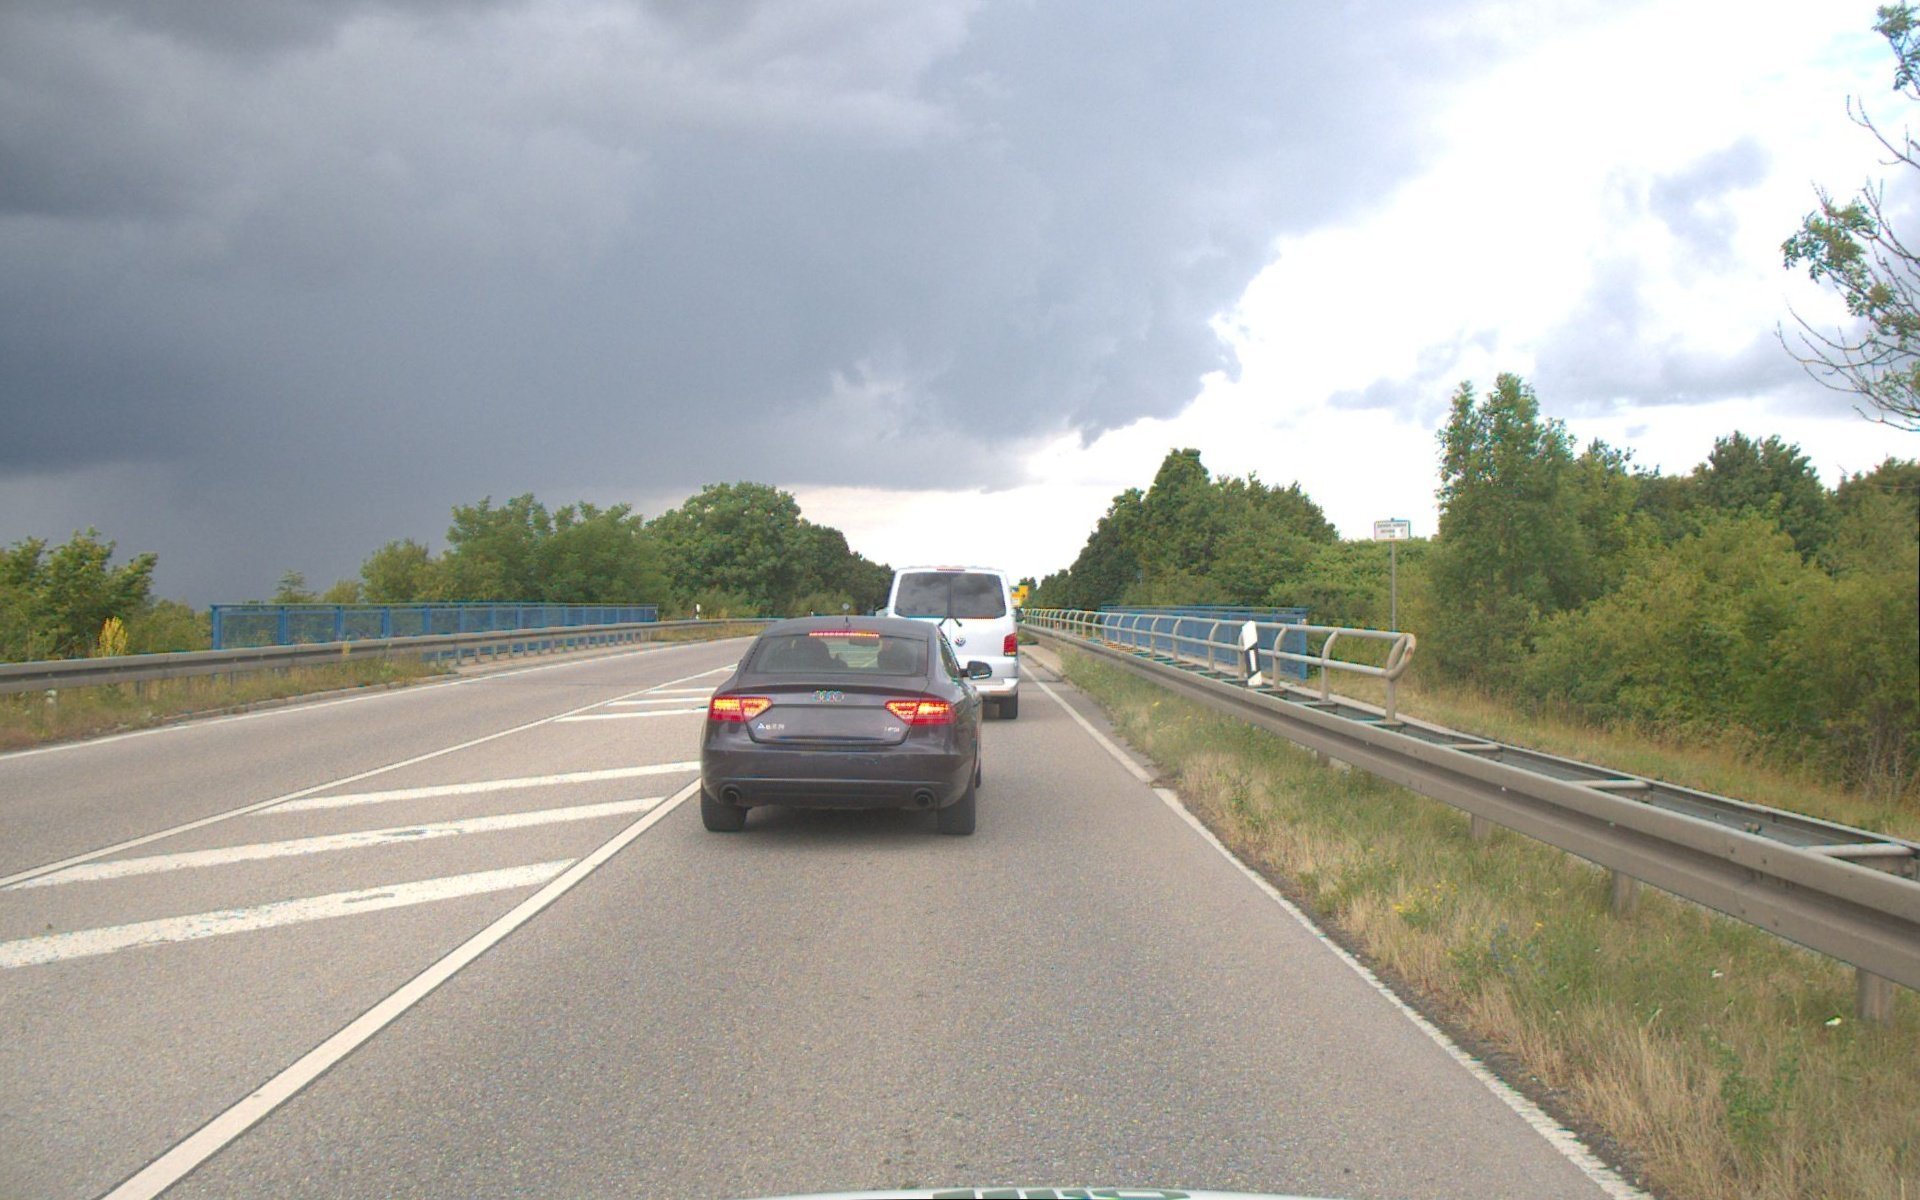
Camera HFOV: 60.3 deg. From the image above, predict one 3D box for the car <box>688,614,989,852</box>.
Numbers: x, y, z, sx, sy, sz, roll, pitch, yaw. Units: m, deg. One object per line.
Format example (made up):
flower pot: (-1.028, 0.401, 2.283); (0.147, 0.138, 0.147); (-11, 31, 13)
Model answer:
car: (-0.688, 0.807, 11.863); (1.784, 1.405, 4.072); (0, 0, 1)

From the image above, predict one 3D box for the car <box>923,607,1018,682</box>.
car: (0.227, 0.857, 33.302); (1.784, 1.405, 4.072); (0, 0, 1)

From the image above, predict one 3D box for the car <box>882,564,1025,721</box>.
car: (-0.092, 0.542, 22.802); (1.791, 1.969, 3.999); (0, 0, 0)
